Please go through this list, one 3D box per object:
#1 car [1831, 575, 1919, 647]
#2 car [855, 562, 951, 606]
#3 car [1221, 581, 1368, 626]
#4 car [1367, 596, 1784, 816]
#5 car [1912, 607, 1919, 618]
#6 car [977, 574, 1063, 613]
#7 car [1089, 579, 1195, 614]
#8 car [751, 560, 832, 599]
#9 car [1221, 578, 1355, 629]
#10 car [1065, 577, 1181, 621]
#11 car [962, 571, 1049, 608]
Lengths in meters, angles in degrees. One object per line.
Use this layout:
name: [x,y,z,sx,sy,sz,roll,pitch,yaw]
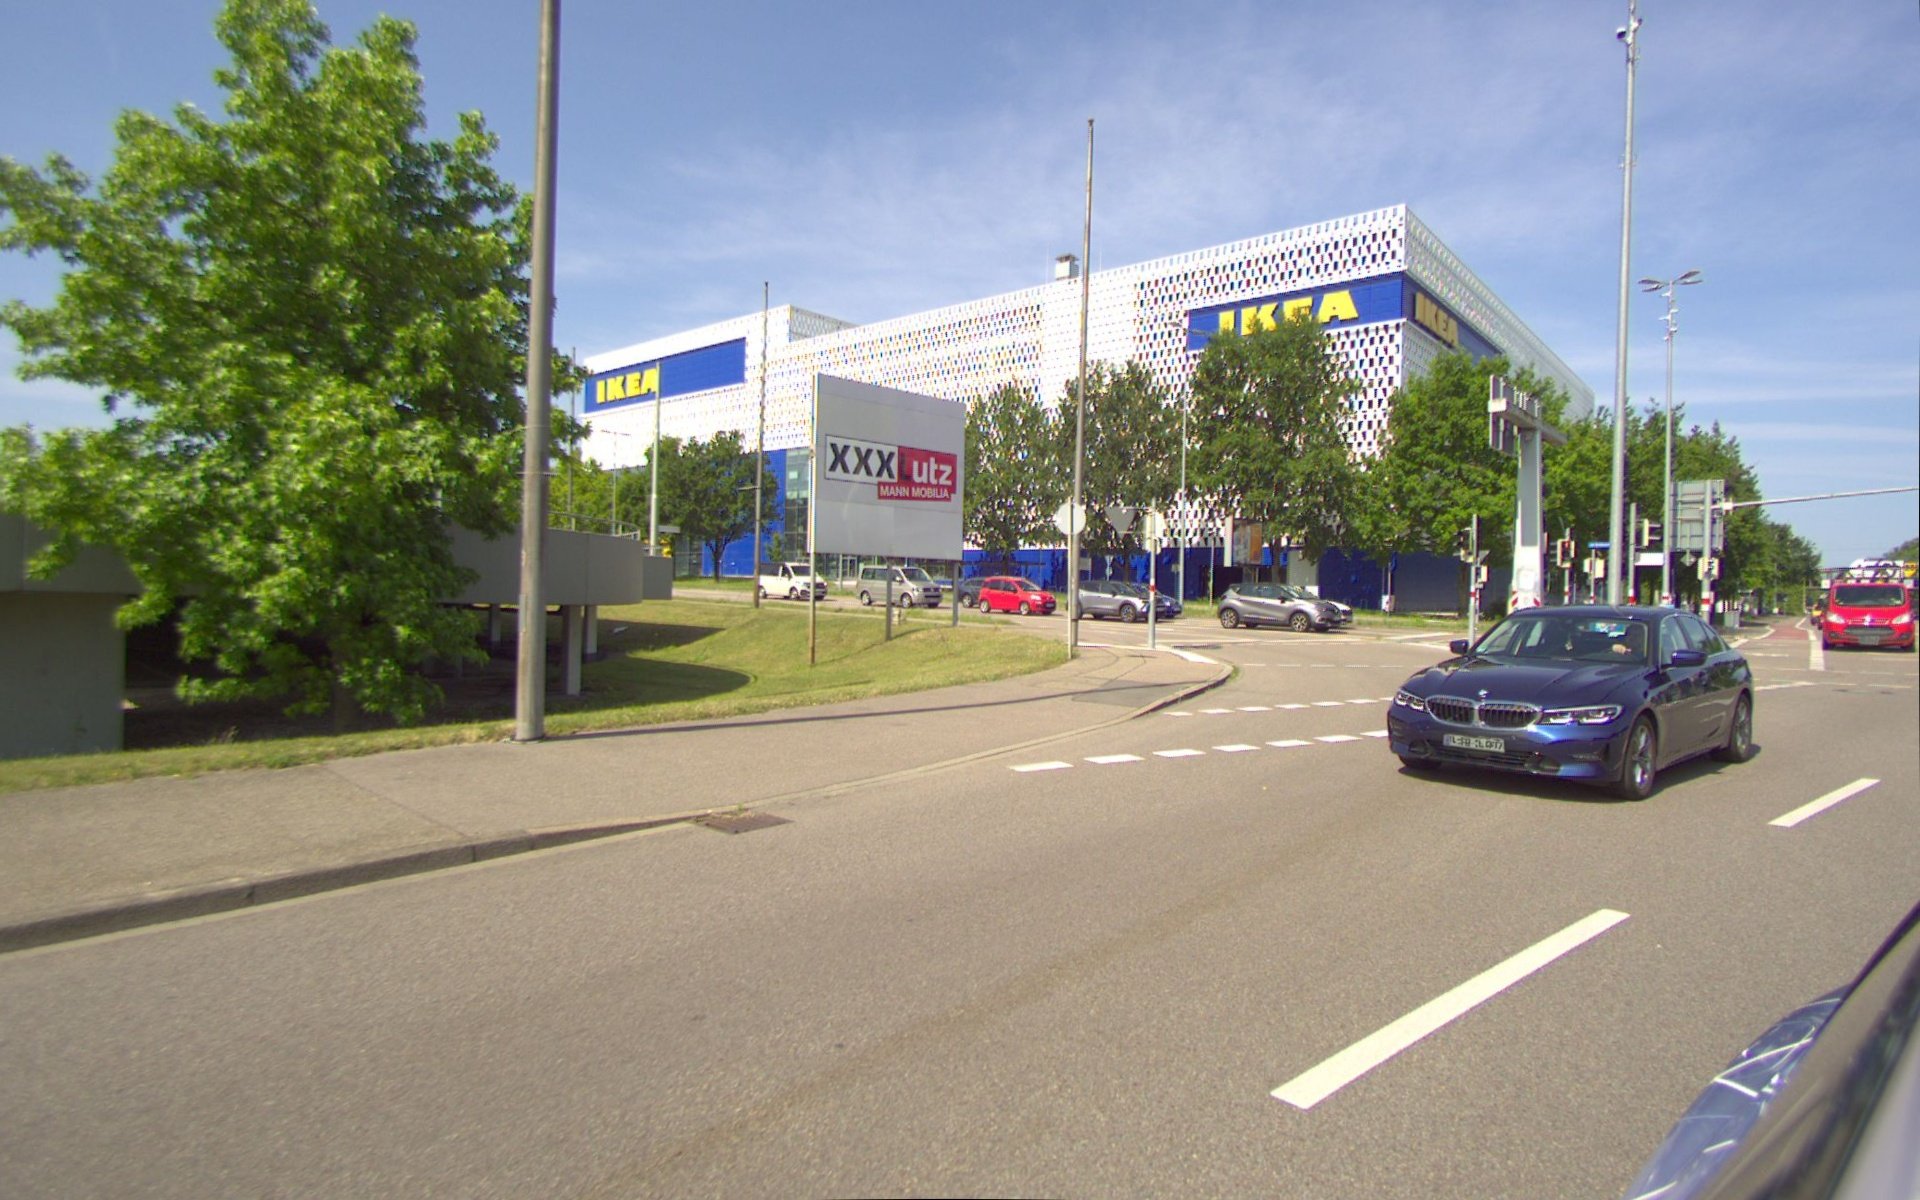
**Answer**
car: [26.598,0.285,29.192,2.009,1.931,4.734,1,0,44]
car: [-2.750,-0.813,47.961,1.931,2.000,4.677,-1,3,-45]
car: [12.071,0.069,36.752,1.927,1.443,4.719,-1,2,-45]
car: [5.591,0.707,8.953,4.457,1.447,1.799,0,1,-40]
car: [139.195,1.835,146.295,1.844,1.478,4.598,4,2,39]
car: [2.510,-0.292,42.778,1.572,1.595,3.473,1,1,-44]
car: [7.476,-0.166,41.833,4.045,1.359,1.697,2,1,44]
car: [-9.056,-1.119,54.198,1.883,1.960,4.777,-1,2,-45]
car: [10.877,0.079,33.725,1.779,1.578,3.888,0,1,-44]
car: [6.219,-0.081,38.885,4.030,1.527,1.878,3,2,44]
car: [2.084,-0.529,47.311,1.655,1.640,4.122,0,1,-43]
